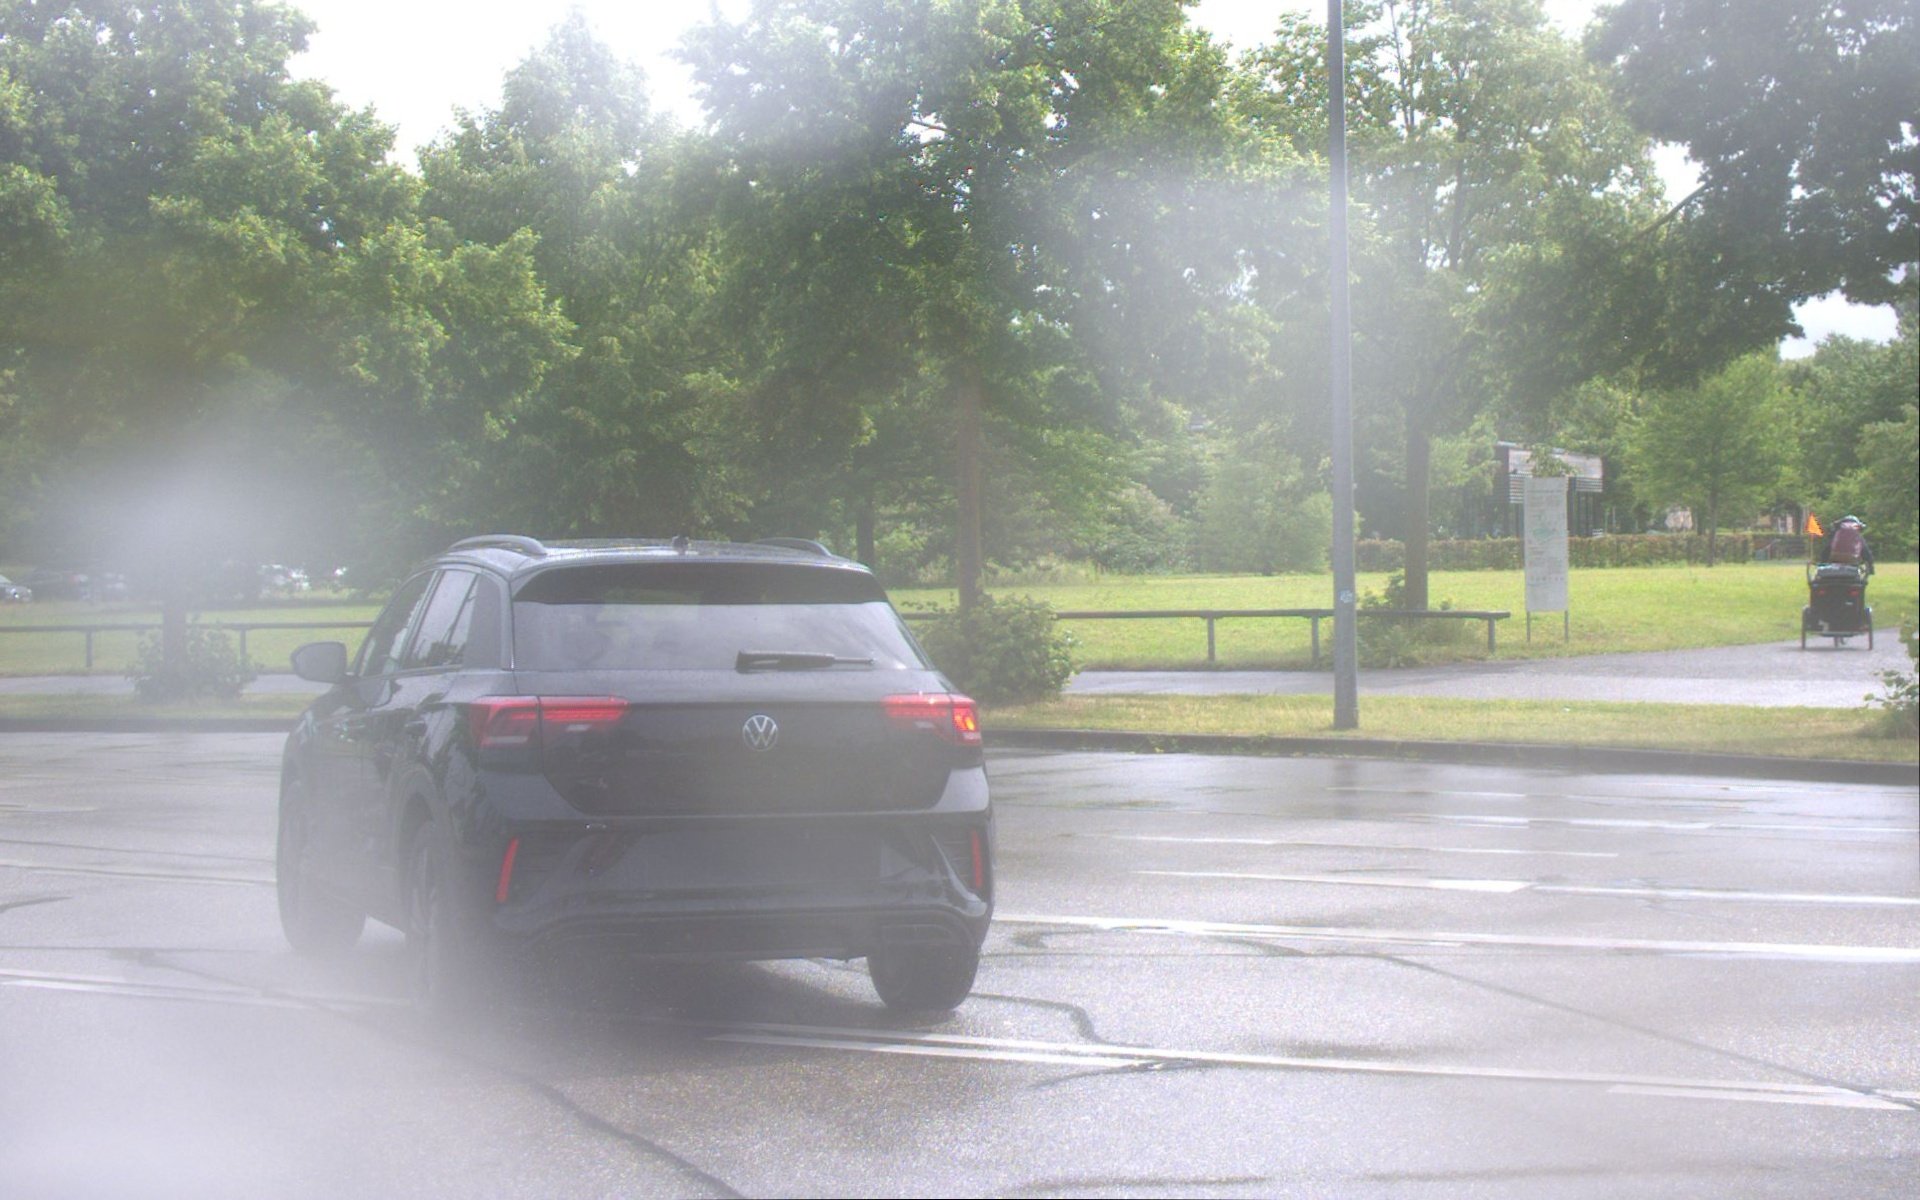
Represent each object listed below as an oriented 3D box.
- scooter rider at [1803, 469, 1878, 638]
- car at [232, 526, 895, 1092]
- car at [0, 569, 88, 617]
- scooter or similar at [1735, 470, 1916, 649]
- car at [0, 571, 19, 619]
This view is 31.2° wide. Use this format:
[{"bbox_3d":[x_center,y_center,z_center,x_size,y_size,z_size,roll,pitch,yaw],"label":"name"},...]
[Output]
[{"bbox_3d":[10.530,-0.545,41.118,0.705,2.007,0.769,0,-1,29],"label":"scooter rider"},{"bbox_3d":[-1.458,0.561,11.903,1.897,1.612,4.001,0,1,-9],"label":"car"},{"bbox_3d":[-32.047,-0.236,117.538,3.970,1.554,1.848,-1,1,22],"label":"car"},{"bbox_3d":[10.152,-0.435,40.189,1.238,2.007,3.403,0,-1,29],"label":"scooter or similar"},{"bbox_3d":[-33.308,-0.116,113.561,3.970,1.554,1.848,-1,1,22],"label":"car"}]
